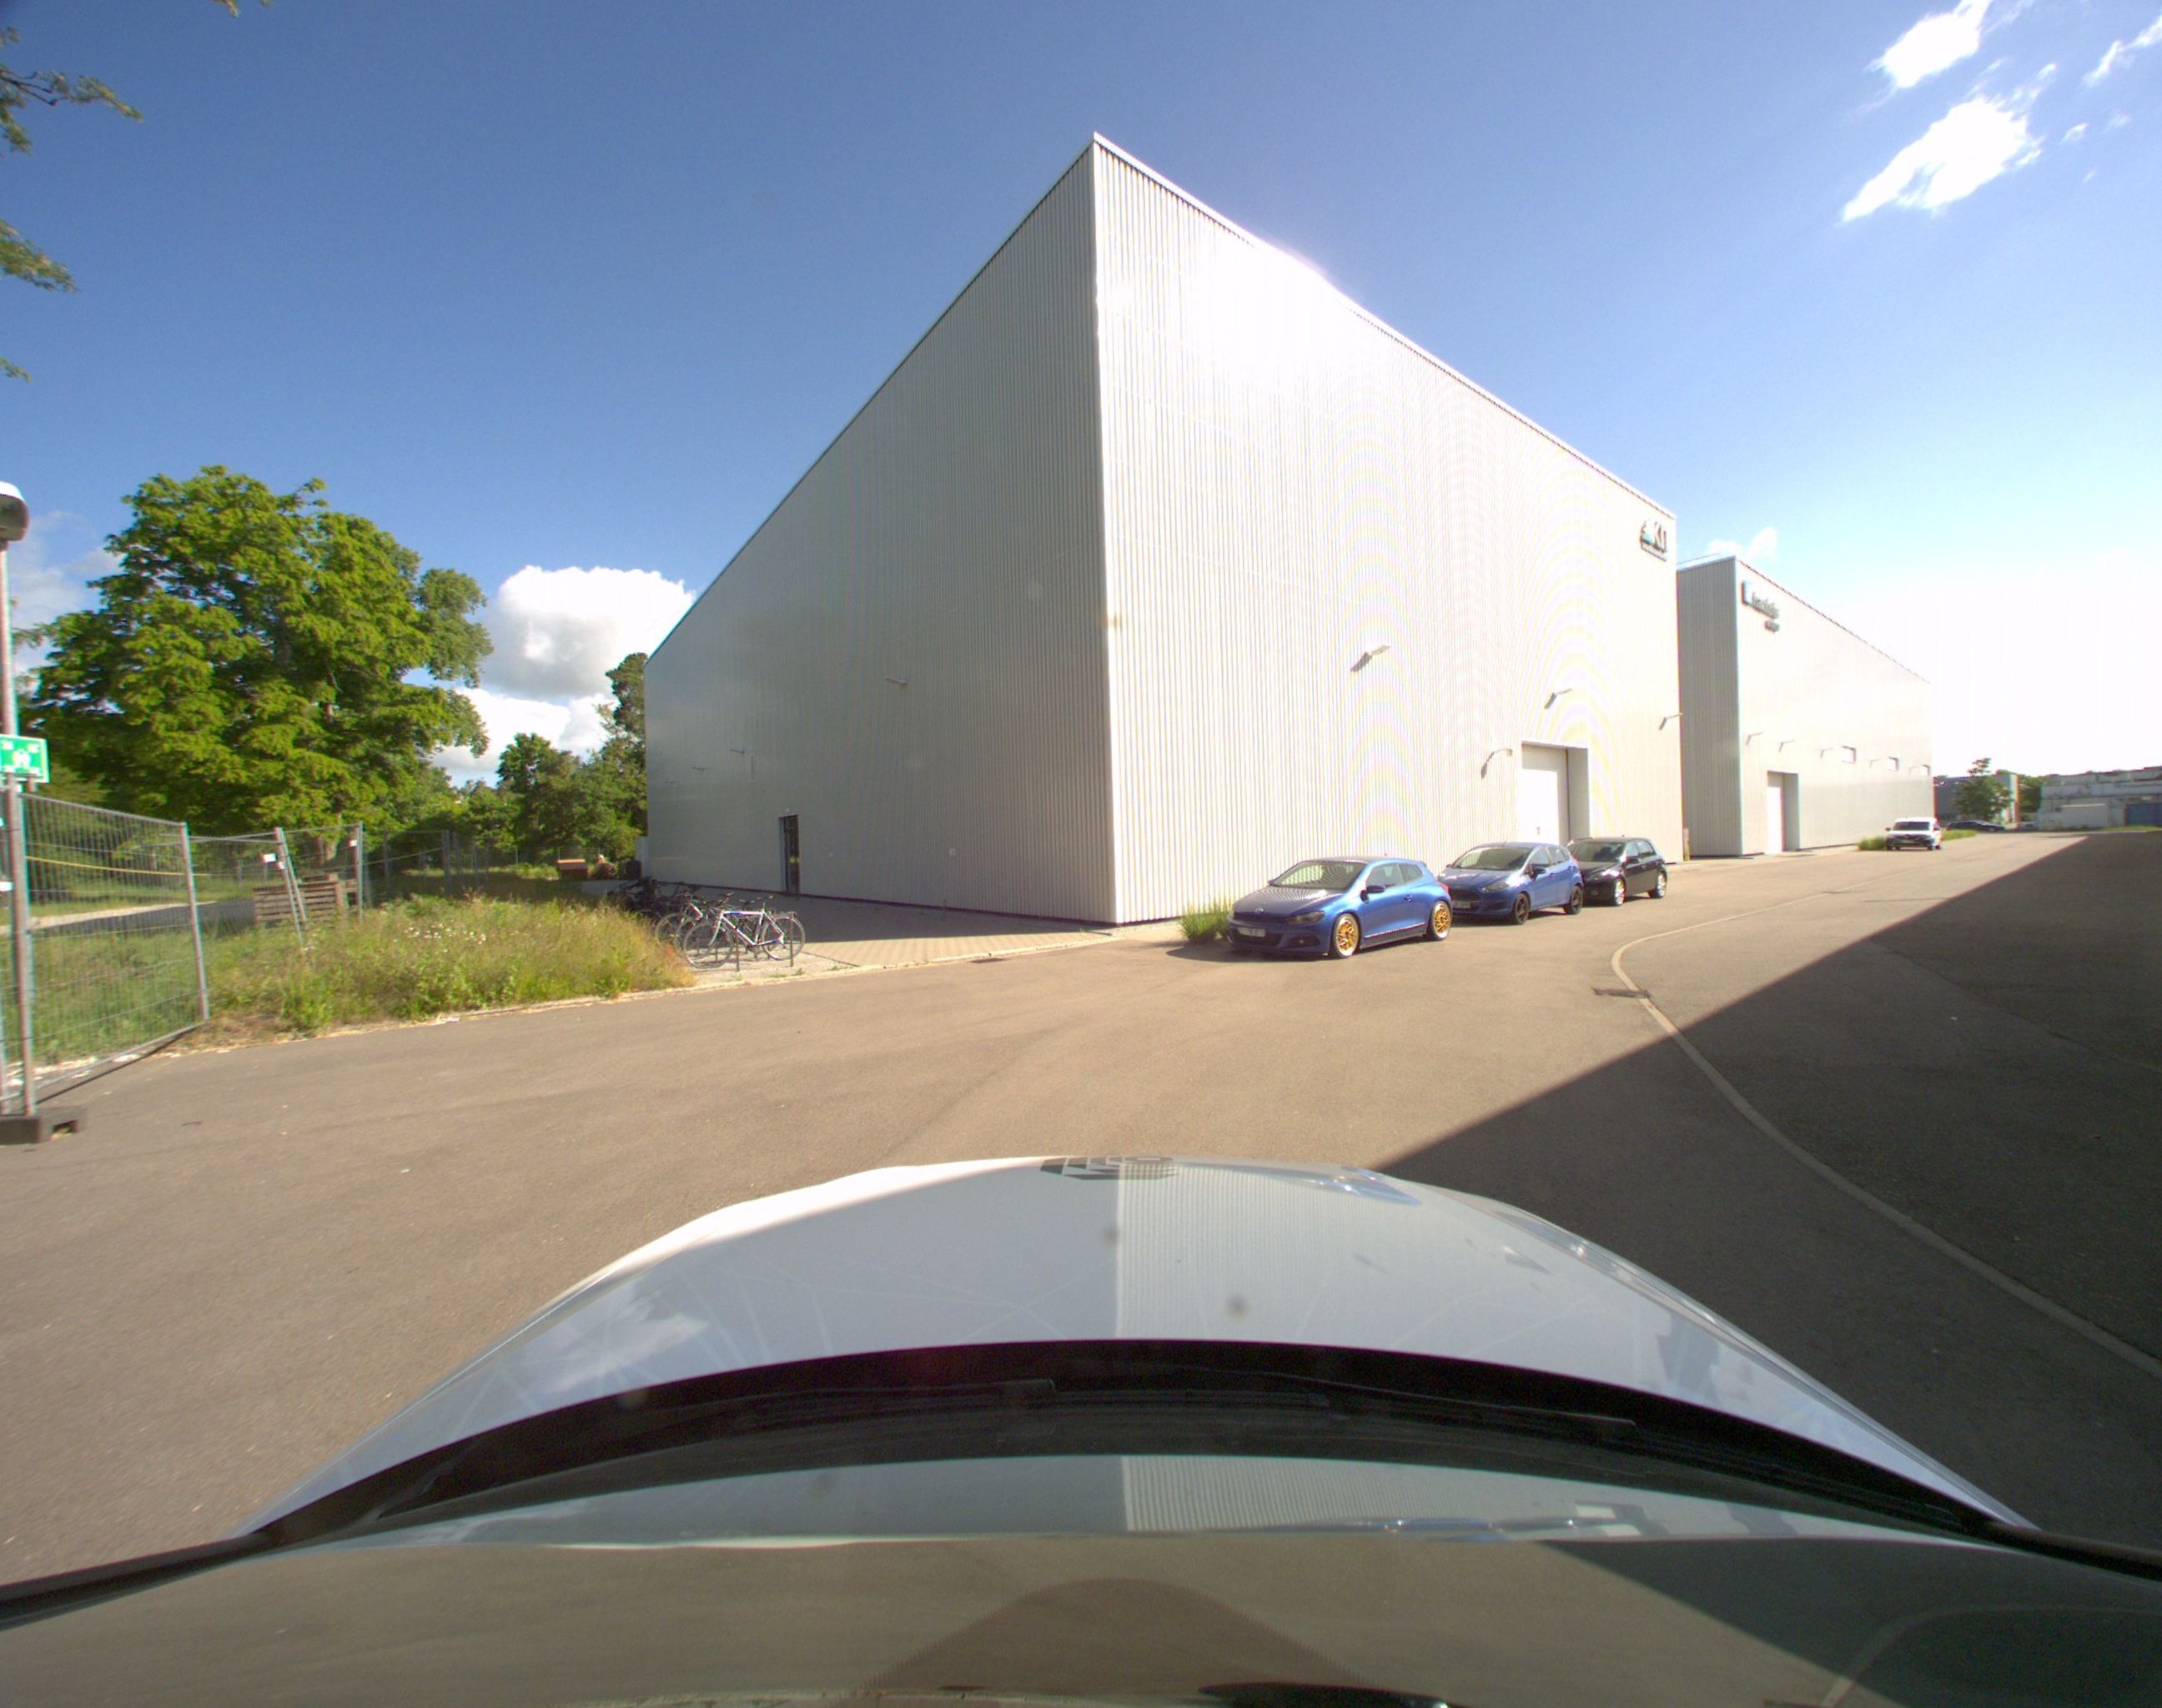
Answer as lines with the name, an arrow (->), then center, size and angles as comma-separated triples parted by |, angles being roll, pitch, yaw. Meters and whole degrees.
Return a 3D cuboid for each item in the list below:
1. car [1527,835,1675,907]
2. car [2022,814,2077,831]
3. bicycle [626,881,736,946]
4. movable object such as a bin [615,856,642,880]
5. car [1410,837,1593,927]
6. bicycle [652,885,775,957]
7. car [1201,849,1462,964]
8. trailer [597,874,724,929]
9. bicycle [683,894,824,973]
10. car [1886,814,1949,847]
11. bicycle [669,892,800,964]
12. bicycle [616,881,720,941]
car -> 12.123, 0.314, 18.920 | 3.917, 1.418, 1.735 | -2, 3, -39
car -> 111.825, -3.609, 94.080 | 1.910, 1.775, 4.050 | -3, 1, -39
bicycle -> -7.981, 1.153, 16.312 | 1.899, 1.126, 0.428 | -3, 1, -39
movable object such as a bin -> -33.445, 1.056, 60.177 | 1.373, 1.656, 2.811 | -3, 1, -35
car -> 8.263, 0.435, 15.874 | 3.917, 1.473, 1.735 | -2, 3, -39
bicycle -> -6.438, 1.143, 14.334 | 1.899, 1.082, 0.428 | -3, 1, -39
car -> 3.909, 0.670, 12.380 | 4.189, 1.384, 1.735 | -2, 1, -39
trailer -> -10.927, 1.199, 21.229 | 2.733, 1.199, 1.232 | -3, 1, -38
bicycle -> -4.892, 1.153, 12.247 | 1.899, 0.978, 0.428 | -3, 1, -39
car -> 46.299, -1.330, 45.067 | 4.316, 1.756, 1.693 | -2, 2, -35
bicycle -> -5.643, 1.177, 13.334 | 1.899, 0.978, 0.428 | -3, 1, -39
bicycle -> -8.832, 1.199, 17.473 | 1.899, 1.104, 0.428 | -3, 1, -39
